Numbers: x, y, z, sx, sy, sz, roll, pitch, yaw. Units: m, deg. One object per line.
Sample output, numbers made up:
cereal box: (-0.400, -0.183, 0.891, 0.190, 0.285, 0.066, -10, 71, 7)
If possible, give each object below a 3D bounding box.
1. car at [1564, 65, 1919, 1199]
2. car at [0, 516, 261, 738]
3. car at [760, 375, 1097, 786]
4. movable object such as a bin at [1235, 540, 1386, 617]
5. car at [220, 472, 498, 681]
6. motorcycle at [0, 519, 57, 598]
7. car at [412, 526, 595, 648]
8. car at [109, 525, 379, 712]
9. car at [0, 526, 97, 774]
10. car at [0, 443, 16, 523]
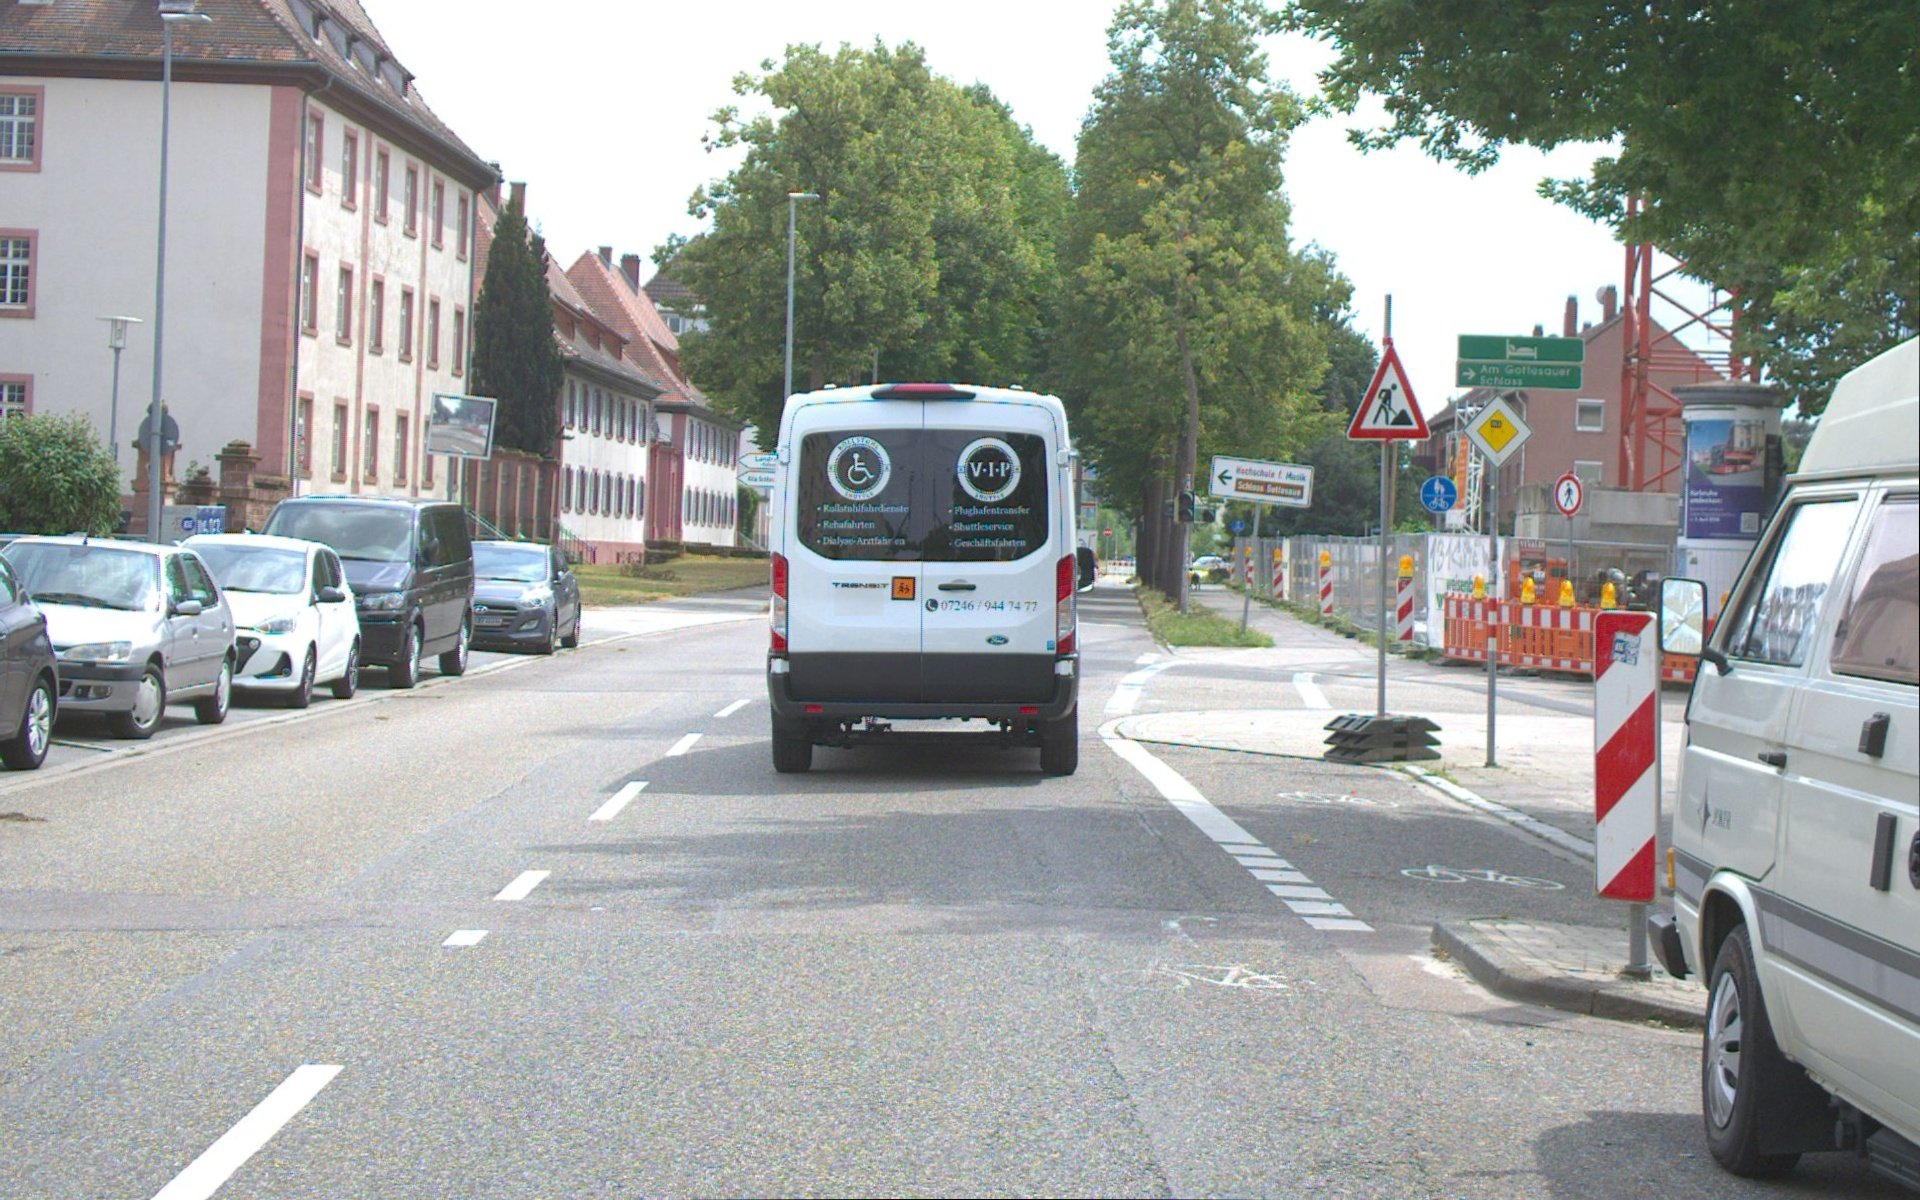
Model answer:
car: (2.869, 0.232, 7.677, 1.895, 2.593, 4.905, 5, 0, -1)
car: (-6.536, 0.136, 25.732, 1.687, 1.452, 4.264, 3, 1, 0)
car: (-0.217, -0.142, 23.404, 2.062, 2.531, 4.000, 1, 1, -1)
movable object such as a bin: (12.194, -0.744, 119.343, 4.686, 2.581, 3.130, 1, 1, 17)
car: (-6.427, -0.290, 37.317, 1.949, 1.997, 4.844, 4, 1, 1)
motorcycle: (-14.269, -0.611, 49.949, 2.091, 1.138, 0.725, 1, 0, 7)
car: (-6.243, -0.214, 47.406, 1.822, 1.468, 4.298, 4, 1, 0)
car: (-6.569, 0.119, 31.902, 1.654, 1.524, 3.765, 3, 1, 0)
car: (-6.559, 0.269, 20.358, 1.687, 1.465, 4.048, 3, 1, 2)
car: (-21.665, -2.496, 73.208, 1.767, 1.705, 3.958, 2, 3, 4)
